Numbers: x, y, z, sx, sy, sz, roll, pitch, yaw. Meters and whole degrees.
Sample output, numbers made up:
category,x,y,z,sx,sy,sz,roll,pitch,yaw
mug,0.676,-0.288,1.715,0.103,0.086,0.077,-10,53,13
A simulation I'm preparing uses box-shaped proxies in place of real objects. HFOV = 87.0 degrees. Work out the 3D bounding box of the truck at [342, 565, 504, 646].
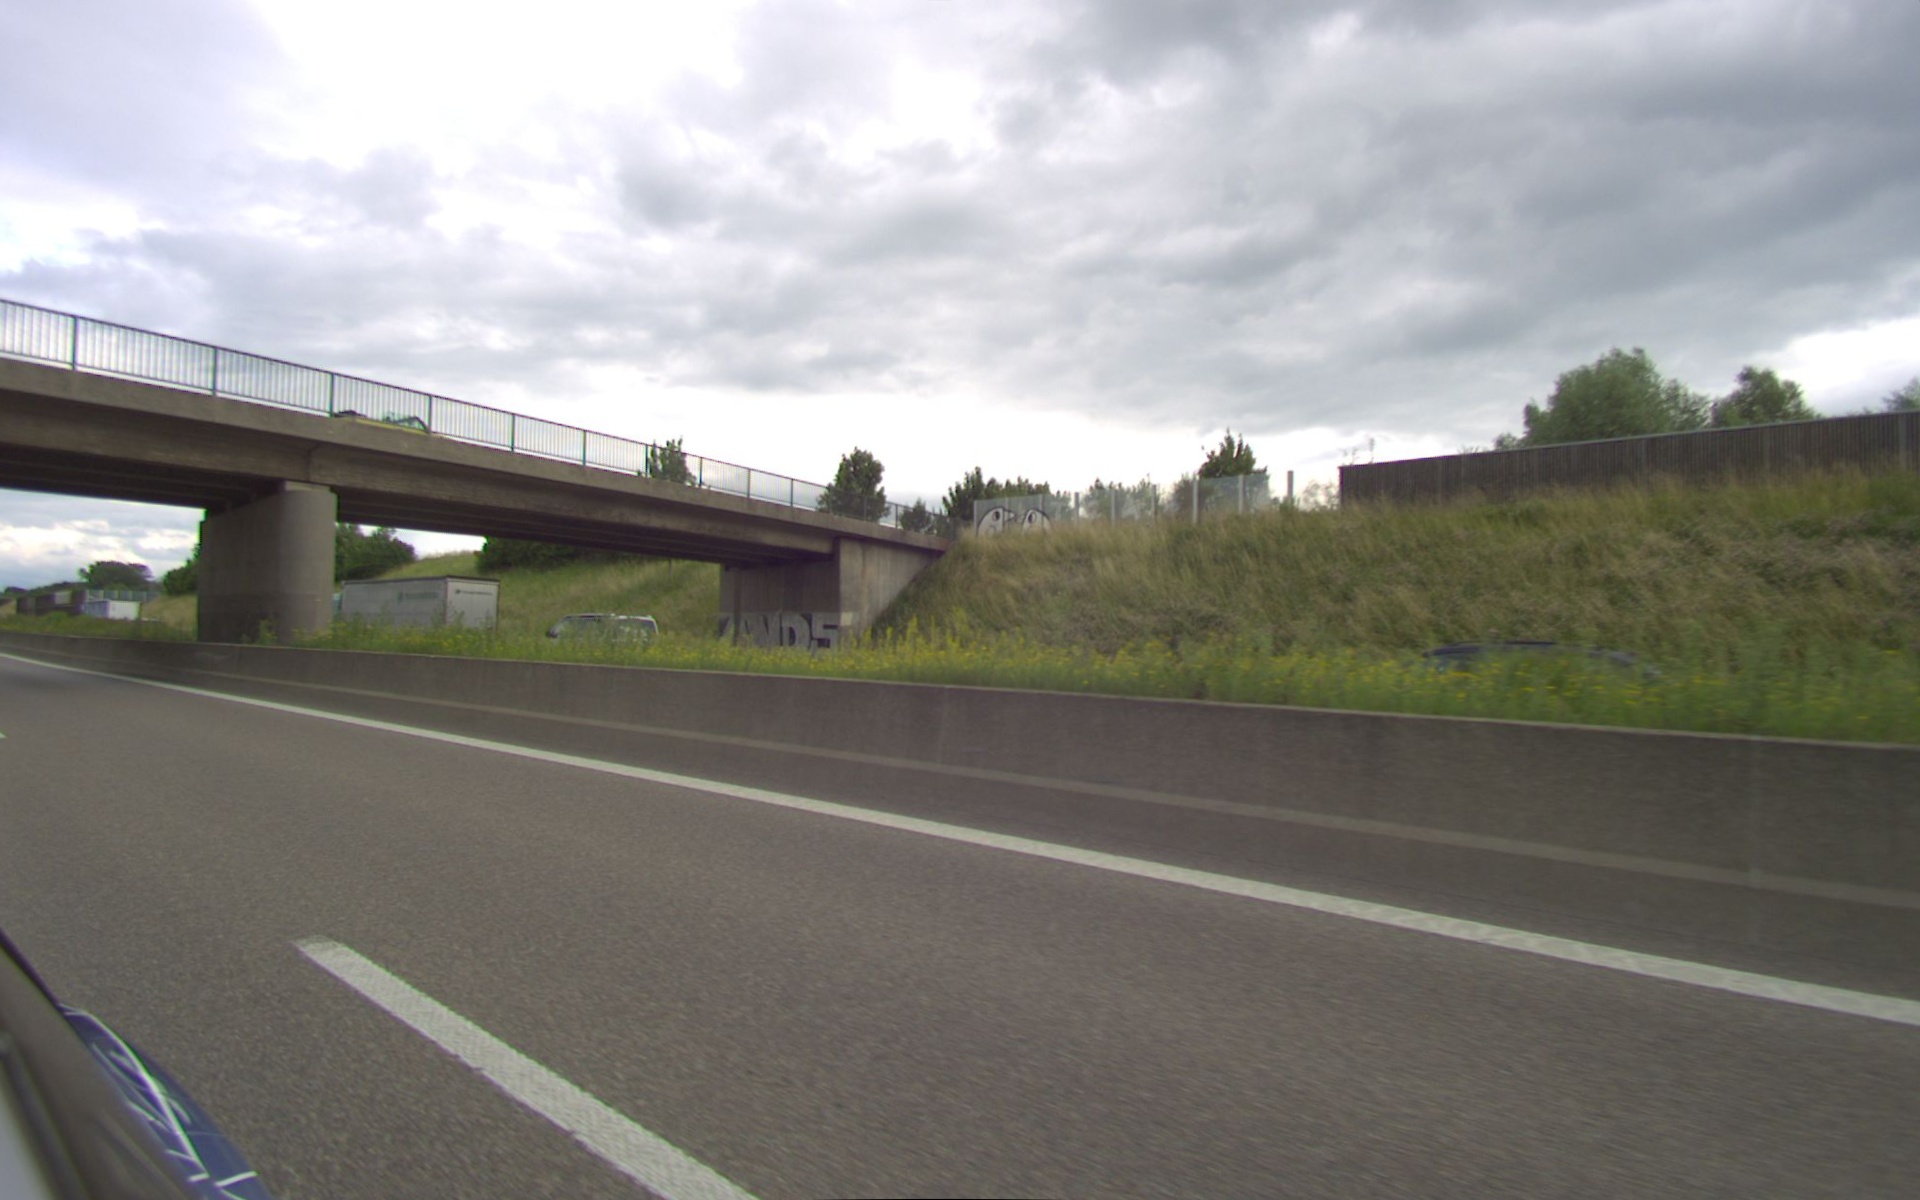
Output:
category,x,y,z,sx,sy,sz,roll,pitch,yaw
truck,-27.791,0.347,51.945,13.003,3.712,2.966,-1,-2,42

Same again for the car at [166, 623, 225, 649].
category,x,y,z,sx,sy,sz,roll,pitch,yaw
car,-46.283,2.171,61.220,4.918,1.496,1.709,-2,-3,39

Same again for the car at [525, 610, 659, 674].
category,x,y,z,sx,sy,sz,roll,pitch,yaw
car,-11.406,1.281,31.247,4.716,1.843,1.709,-2,-3,39

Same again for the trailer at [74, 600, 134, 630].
category,x,y,z,sx,sy,sz,roll,pitch,yaw
trailer,-89.185,1.556,105.316,13.965,2.978,2.890,-1,-1,42

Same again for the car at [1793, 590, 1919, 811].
category,x,y,z,sx,sy,sz,roll,pitch,yaw
car,9.743,0.832,8.062,4.719,1.843,1.708,-2,-3,41

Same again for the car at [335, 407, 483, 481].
category,x,y,z,sx,sy,sz,roll,pitch,yaw
car,-15.490,-4.343,28.580,1.654,1.458,3.306,-1,-1,30
